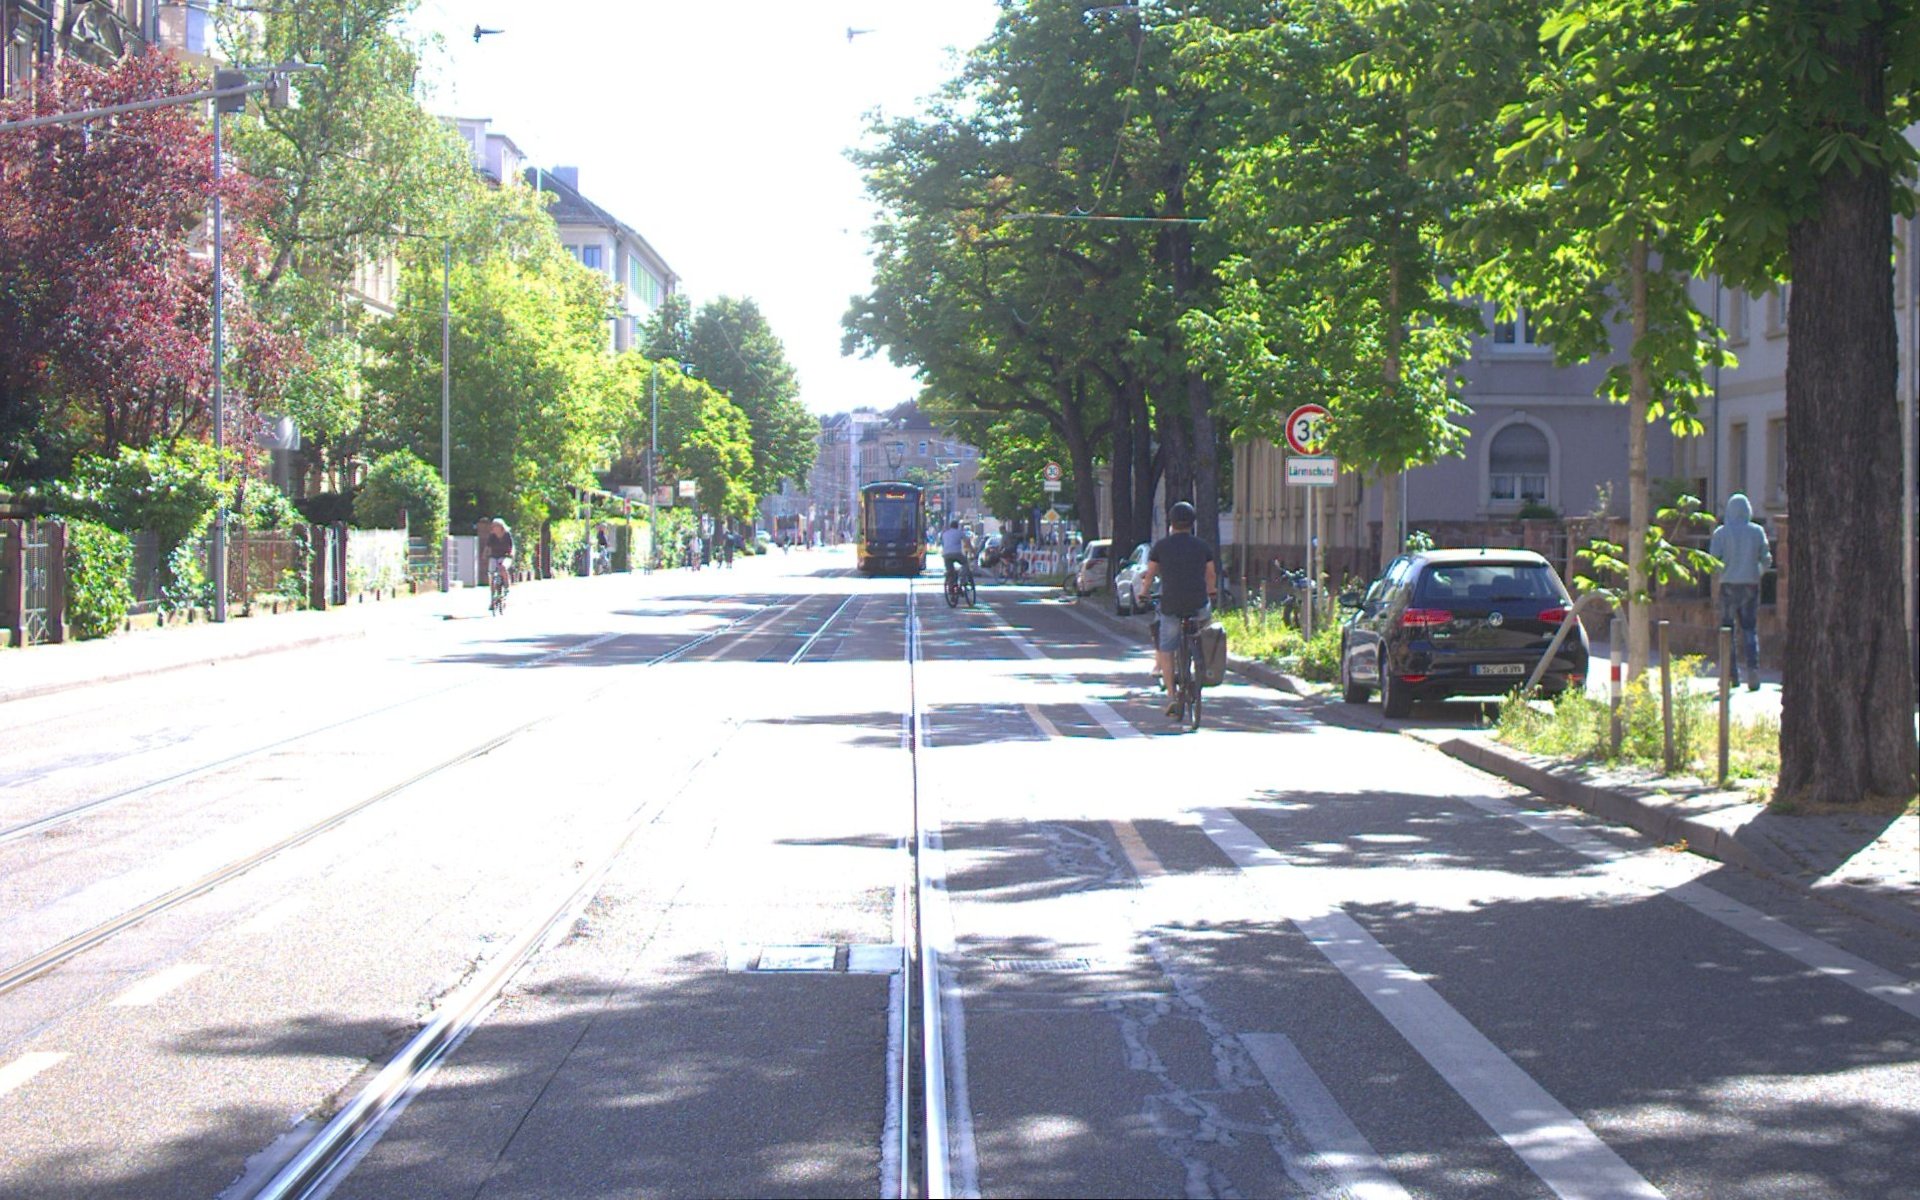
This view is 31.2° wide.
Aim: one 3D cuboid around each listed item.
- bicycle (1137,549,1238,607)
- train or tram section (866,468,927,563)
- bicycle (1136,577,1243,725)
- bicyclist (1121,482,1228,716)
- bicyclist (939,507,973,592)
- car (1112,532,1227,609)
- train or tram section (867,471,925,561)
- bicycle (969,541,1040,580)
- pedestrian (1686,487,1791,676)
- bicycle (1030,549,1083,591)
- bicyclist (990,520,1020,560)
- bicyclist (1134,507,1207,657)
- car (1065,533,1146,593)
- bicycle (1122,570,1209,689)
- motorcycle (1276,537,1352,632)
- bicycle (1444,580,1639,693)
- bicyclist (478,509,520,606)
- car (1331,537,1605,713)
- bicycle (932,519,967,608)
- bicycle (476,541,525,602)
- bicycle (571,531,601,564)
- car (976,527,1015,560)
[{"bbox_3d":[4.210,-0.407,63.661,1.792,1.016,0.620,-2,1,-1],"label":"bicycle"},{"bbox_3d":[-2.397,-3.170,129.937,2.153,3.420,6.612,2,1,-1],"label":"train or tram section"},{"bbox_3d":[1.840,0.395,27.784,0.692,1.108,1.719,2,1,-1],"label":"bicycle"},{"bbox_3d":[1.733,-0.016,27.840,0.727,1.842,0.837,2,1,-2],"label":"bicyclist"},{"bbox_3d":[-0.085,-1.077,73.146,0.645,1.789,0.956,2,1,-1],"label":"bicyclist"},{"bbox_3d":[4.020,-0.597,66.484,1.628,1.431,4.666,0,1,-4],"label":"car"},{"bbox_3d":[-2.539,-3.332,136.604,2.153,3.420,6.612,2,1,-1],"label":"train or tram section"},{"bbox_3d":[1.446,-1.287,111.885,2.141,1.167,0.802,2,1,14],"label":"bicycle"},{"bbox_3d":[7.258,-0.178,32.055,0.764,1.718,0.579,3,1,29],"label":"pedestrian"},{"bbox_3d":[2.513,-0.779,89.671,1.270,1.020,0.704,2,0,7],"label":"bicycle"},{"bbox_3d":[1.473,-1.956,111.763,0.772,1.287,0.733,2,1,15],"label":"bicyclist"},{"bbox_3d":[2.112,-0.186,34.472,0.635,1.463,0.616,2,1,-1],"label":"bicyclist"},{"bbox_3d":[3.567,-0.935,84.810,1.748,1.415,4.000,0,1,-1],"label":"car"},{"bbox_3d":[2.044,0.274,34.367,0.692,1.108,1.917,2,1,-1],"label":"bicycle"},{"bbox_3d":[4.662,-0.212,45.390,0.495,1.186,1.862,-3,2,-8],"label":"motorcycle"},{"bbox_3d":[5.754,0.352,34.056,1.792,1.063,0.621,-1,1,-5],"label":"bicycle"},{"bbox_3d":[-8.601,-0.797,64.182,0.660,1.795,0.616,-1,0,-1],"label":"bicyclist"},{"bbox_3d":[4.474,0.175,30.807,1.787,1.459,4.045,0,1,-1],"label":"car"},{"bbox_3d":[-0.212,-0.787,73.559,0.663,1.853,2.260,2,1,0],"label":"bicycle"},{"bbox_3d":[-8.597,-0.541,64.353,0.692,1.108,1.719,-1,1,-1],"label":"bicycle"},{"bbox_3d":[-12.588,-1.779,115.671,0.632,1.065,1.832,2,1,-18],"label":"bicycle"},{"bbox_3d":[1.721,-2.772,167.807,1.754,1.546,3.677,2,1,-1],"label":"car"}]
